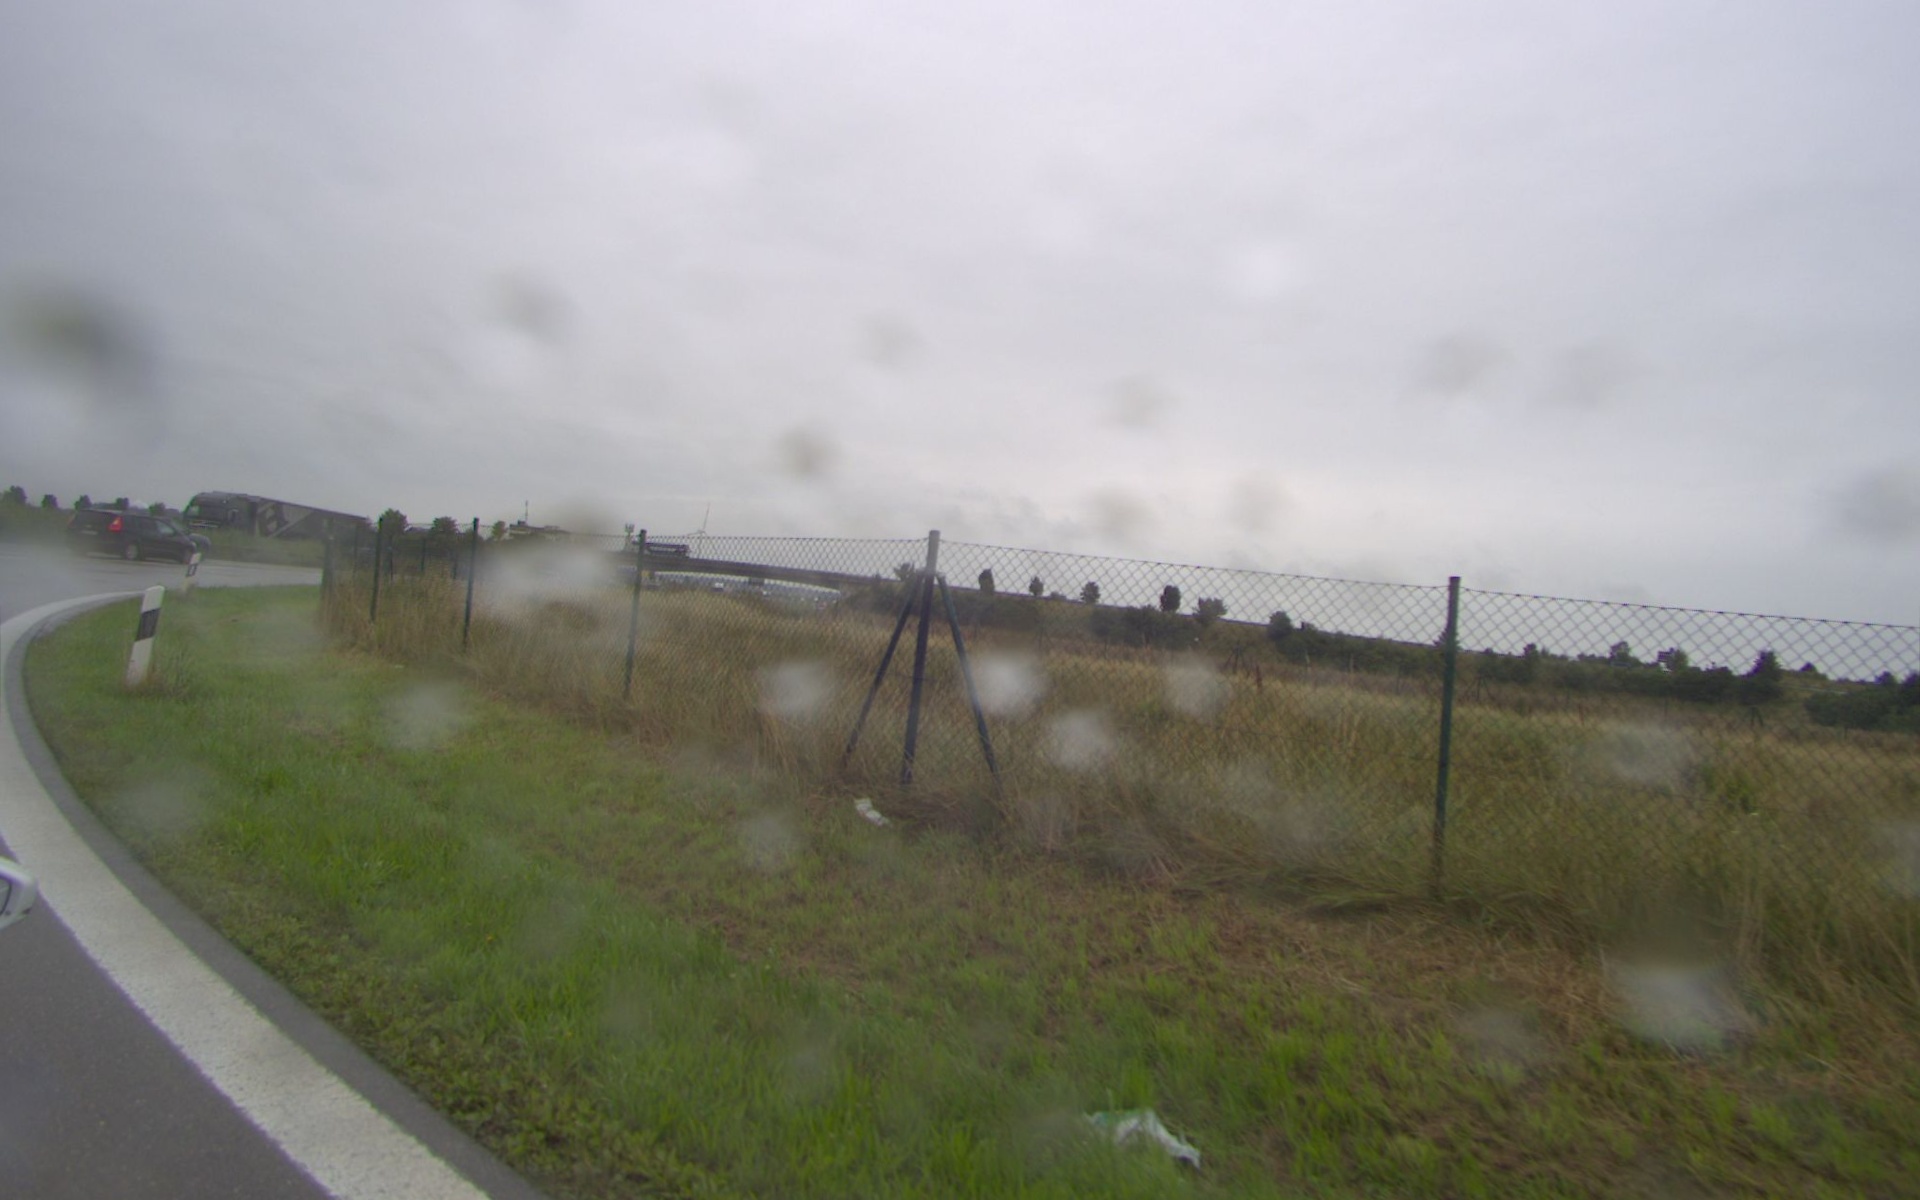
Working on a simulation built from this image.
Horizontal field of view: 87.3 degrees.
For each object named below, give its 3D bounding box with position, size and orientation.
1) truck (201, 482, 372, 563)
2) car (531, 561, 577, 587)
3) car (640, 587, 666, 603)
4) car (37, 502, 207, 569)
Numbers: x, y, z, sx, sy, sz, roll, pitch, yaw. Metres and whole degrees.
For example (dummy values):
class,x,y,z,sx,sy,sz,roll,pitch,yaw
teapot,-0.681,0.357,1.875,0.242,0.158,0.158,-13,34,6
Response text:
class,x,y,z,sx,sy,sz,roll,pitch,yaw
truck,-47.094,-5.218,71.222,3.148,4.012,13.808,8,-1,-4
car,-32.581,-2.099,80.867,2.023,1.655,4.348,7,-1,-4
car,-35.600,-0.591,116.692,1.963,1.720,3.995,4,1,-4
car,-28.831,-2.150,34.845,2.114,1.655,4.595,7,-2,-4
